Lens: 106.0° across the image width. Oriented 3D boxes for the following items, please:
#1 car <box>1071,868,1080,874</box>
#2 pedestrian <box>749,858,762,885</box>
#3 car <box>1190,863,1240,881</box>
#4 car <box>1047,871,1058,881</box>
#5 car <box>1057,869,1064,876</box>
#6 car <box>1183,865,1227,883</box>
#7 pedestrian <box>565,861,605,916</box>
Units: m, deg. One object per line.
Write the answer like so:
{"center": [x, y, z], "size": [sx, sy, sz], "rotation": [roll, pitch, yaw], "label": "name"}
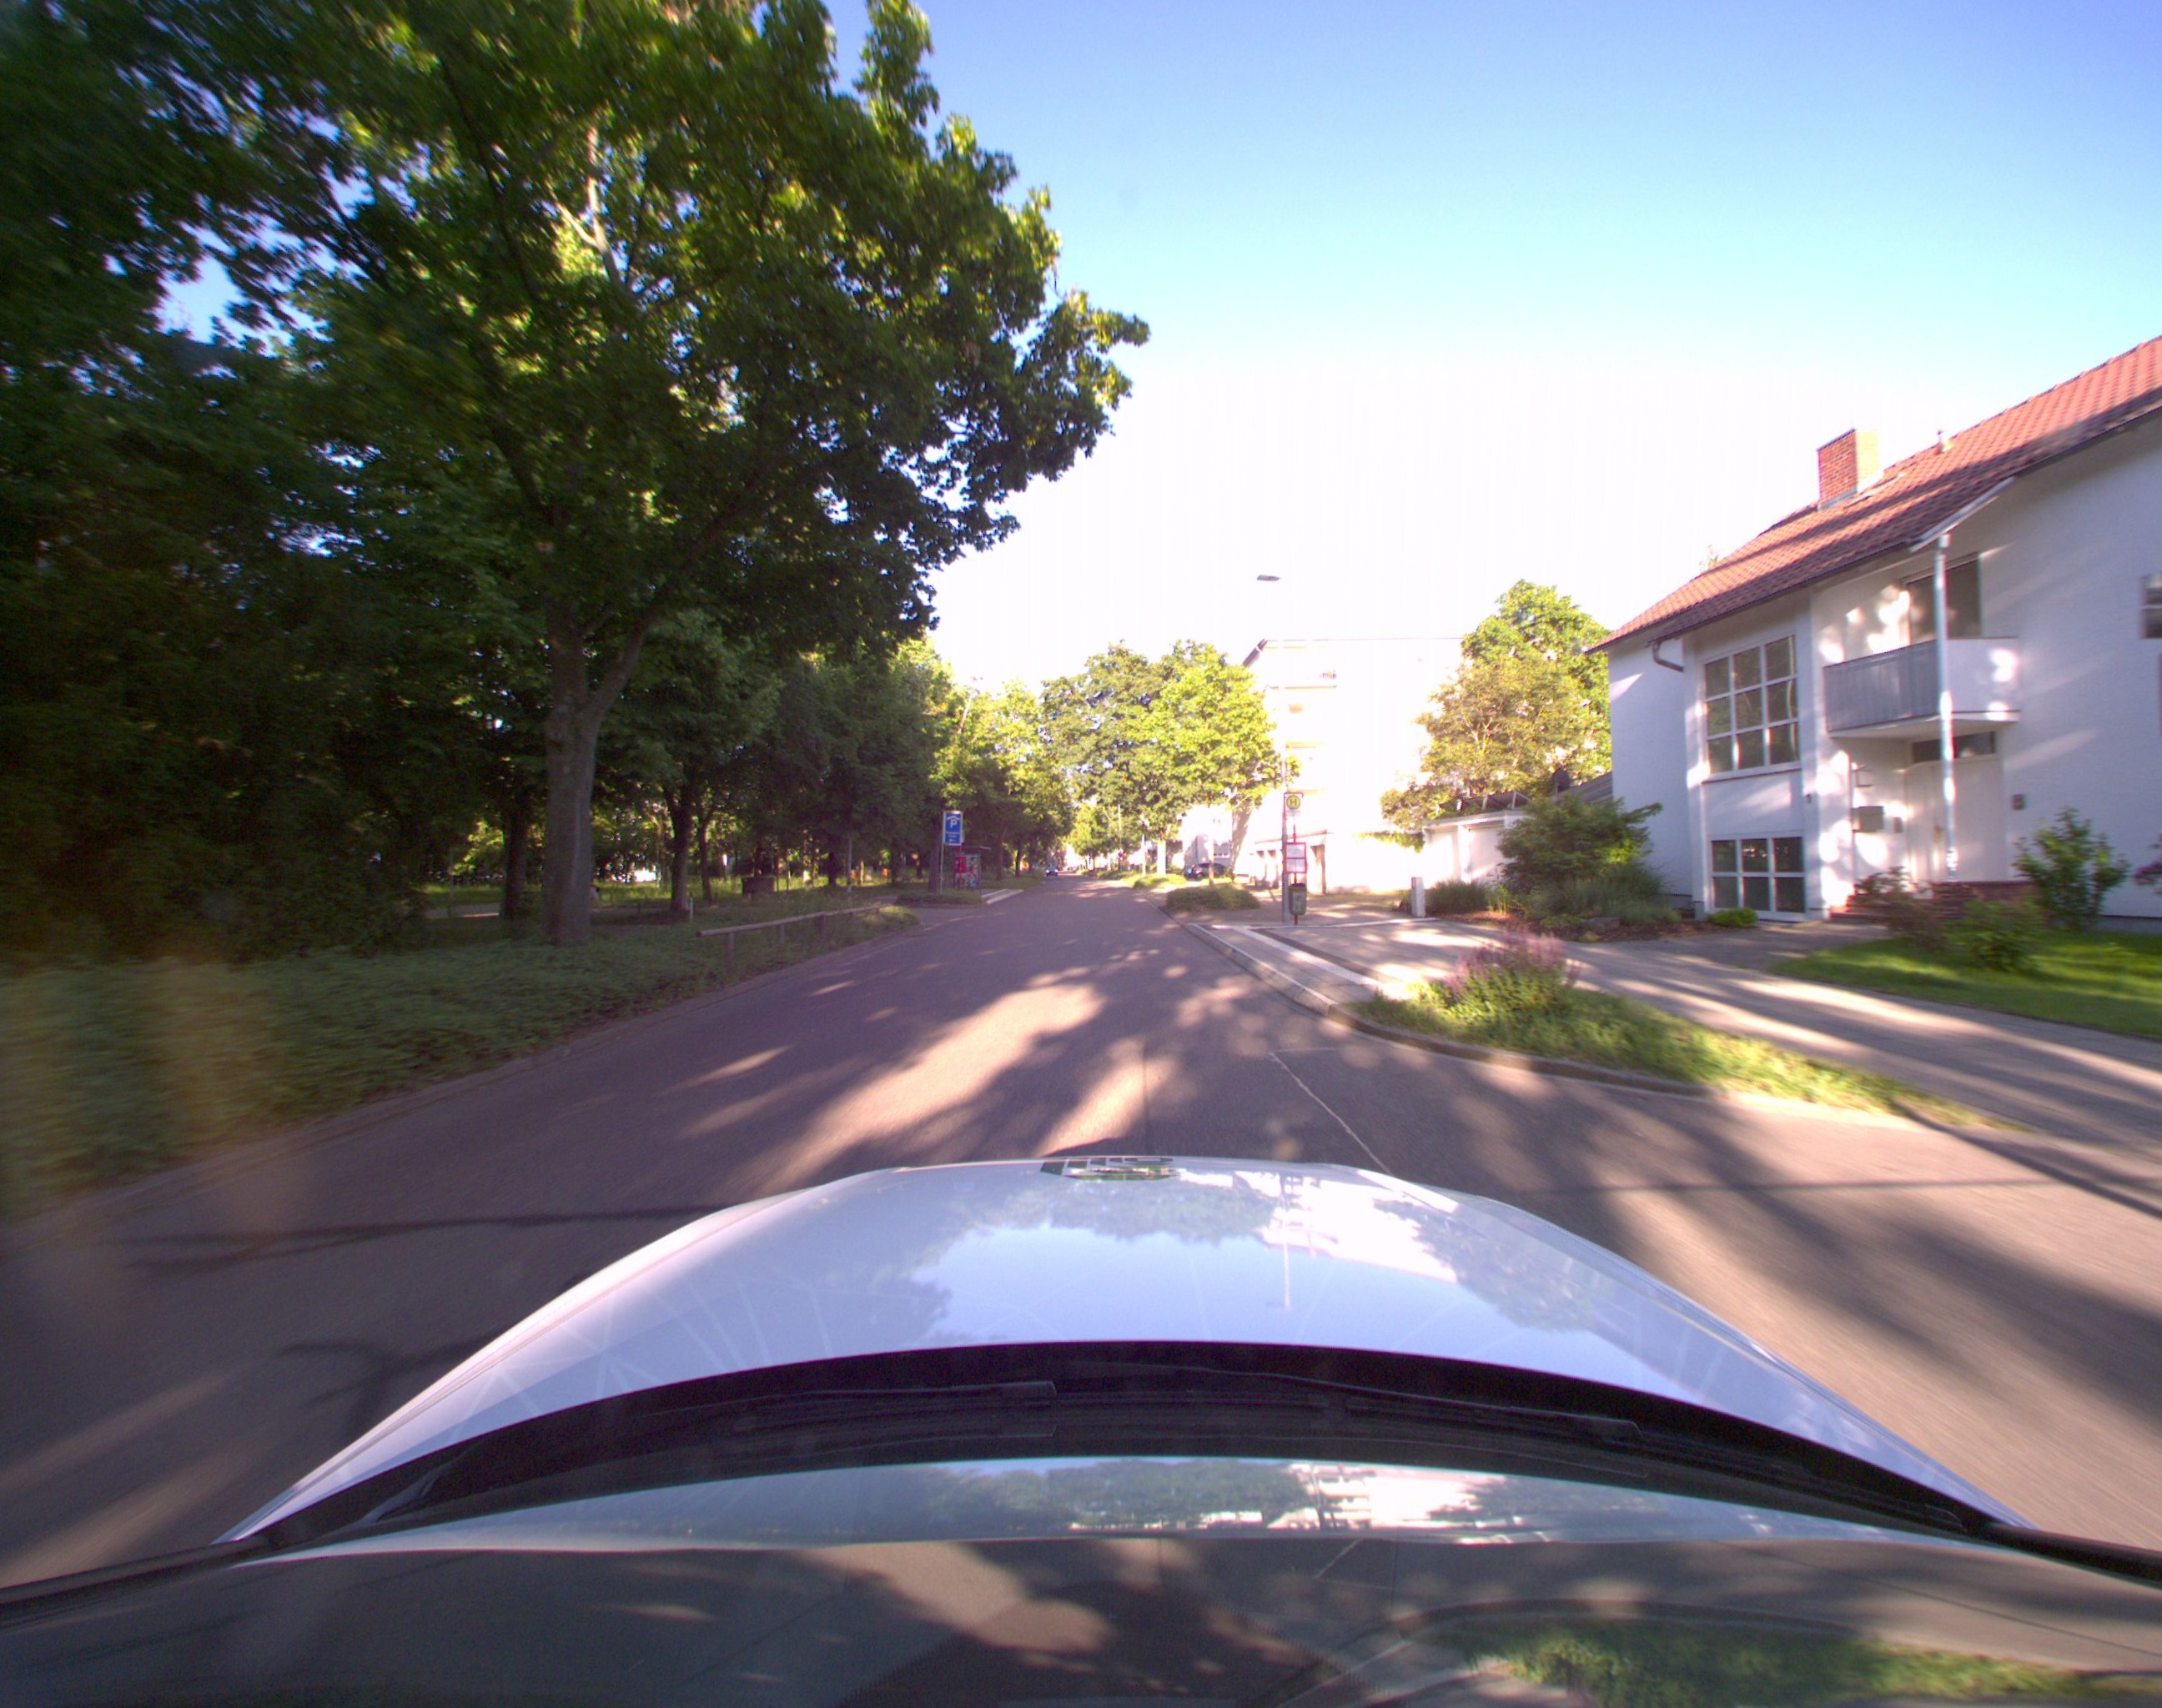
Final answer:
{"center": [-1.452, 4.502, 212.186], "size": [1.812, 1.501, 3.985], "rotation": [-1, -1, -10], "label": "car"}
{"center": [-24.685, 1.351, 61.724], "size": [0.754, 2.014, 0.589], "rotation": [0, -2, -3], "label": "pedestrian"}
{"center": [11.623, 1.570, 70.997], "size": [4.031, 1.514, 1.725], "rotation": [0, -3, -3], "label": "car"}
{"center": [-4.697, 3.549, 133.954], "size": [1.839, 1.579, 4.332], "rotation": [-2, -1, -2], "label": "car"}
{"center": [-6.011, 5.480, 240.562], "size": [1.809, 1.926, 3.990], "rotation": [1, -1, -7], "label": "car"}
{"center": [11.968, 1.930, 78.768], "size": [3.979, 1.581, 1.807], "rotation": [-1, 0, -4], "label": "car"}
{"center": [-16.870, 1.167, 27.716], "size": [0.900, 1.821, 0.720], "rotation": [0, -1, -2], "label": "pedestrian"}
